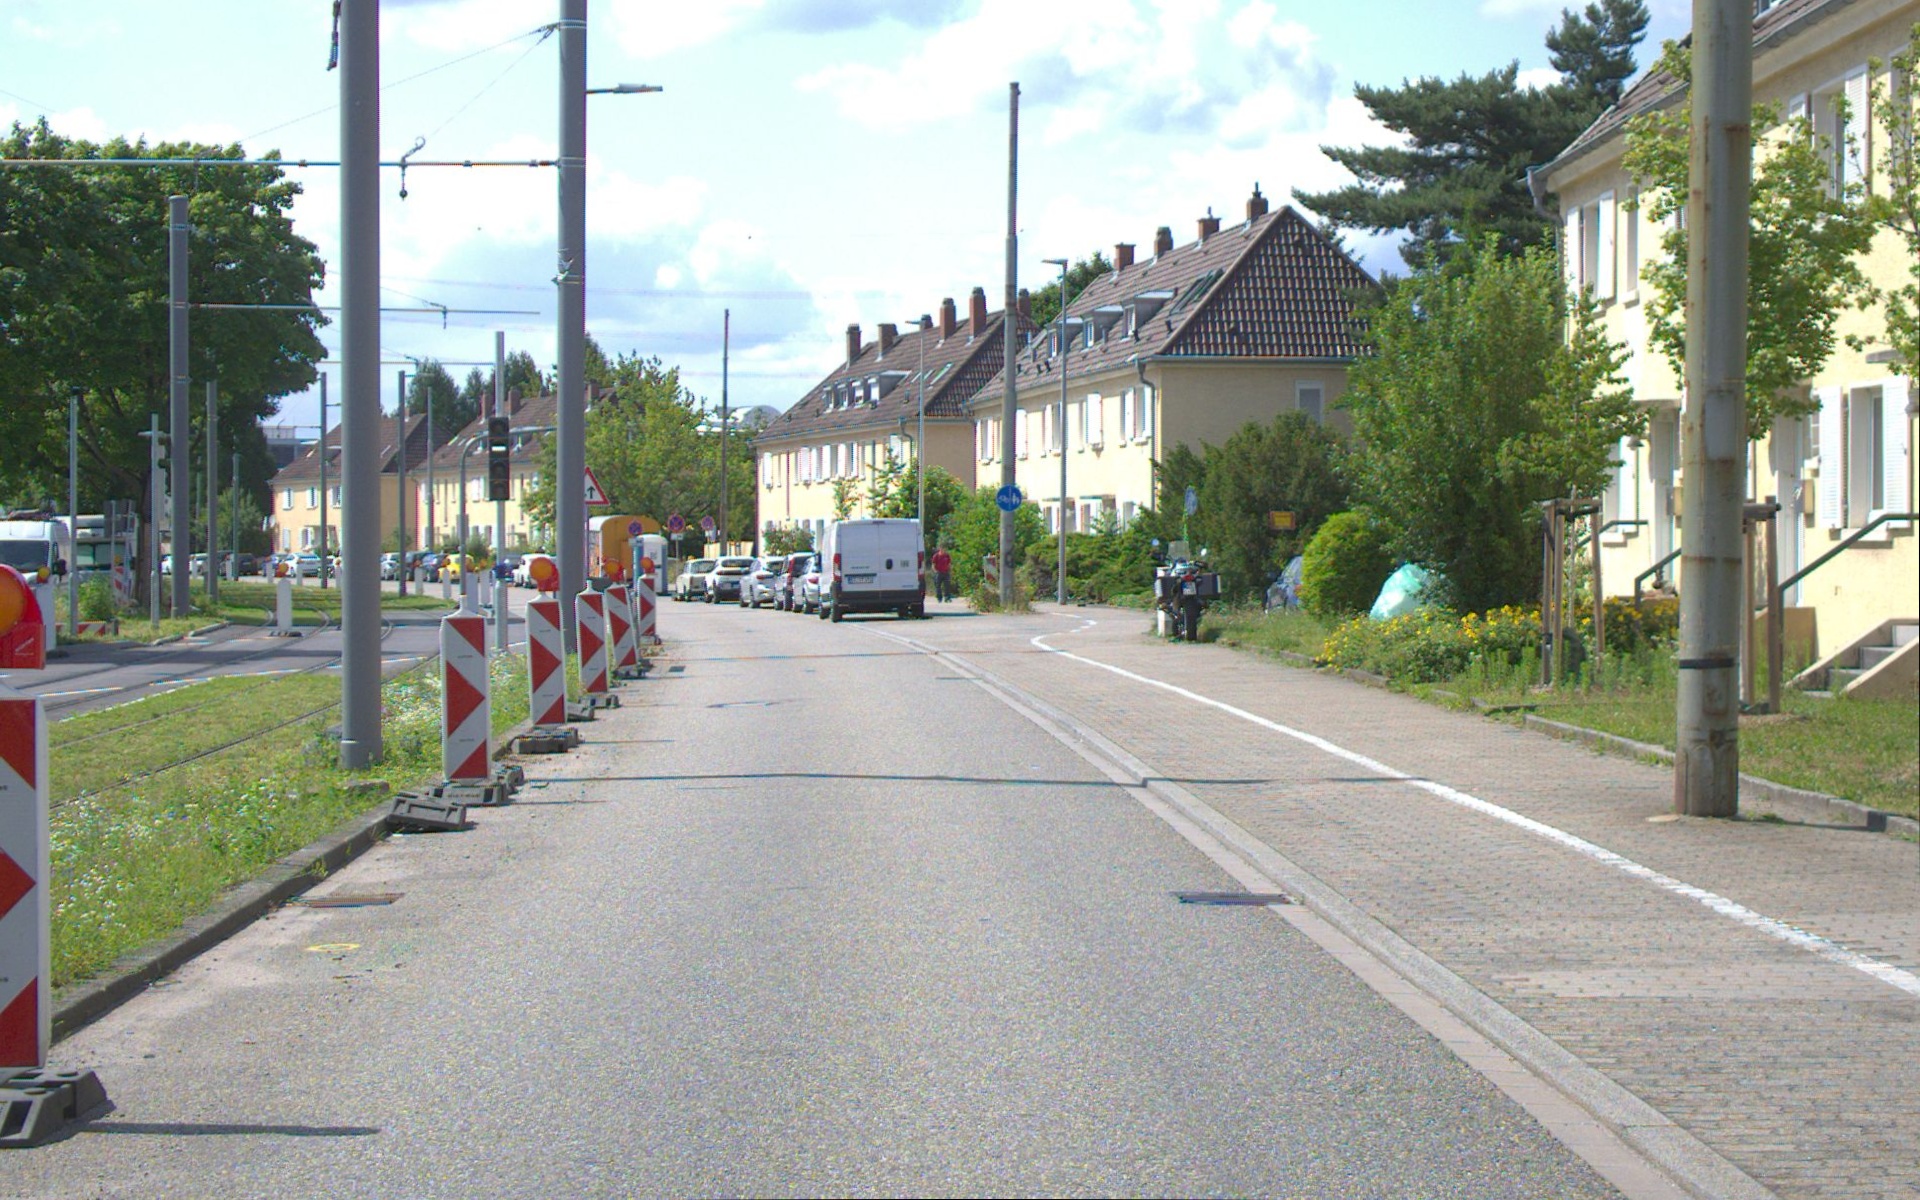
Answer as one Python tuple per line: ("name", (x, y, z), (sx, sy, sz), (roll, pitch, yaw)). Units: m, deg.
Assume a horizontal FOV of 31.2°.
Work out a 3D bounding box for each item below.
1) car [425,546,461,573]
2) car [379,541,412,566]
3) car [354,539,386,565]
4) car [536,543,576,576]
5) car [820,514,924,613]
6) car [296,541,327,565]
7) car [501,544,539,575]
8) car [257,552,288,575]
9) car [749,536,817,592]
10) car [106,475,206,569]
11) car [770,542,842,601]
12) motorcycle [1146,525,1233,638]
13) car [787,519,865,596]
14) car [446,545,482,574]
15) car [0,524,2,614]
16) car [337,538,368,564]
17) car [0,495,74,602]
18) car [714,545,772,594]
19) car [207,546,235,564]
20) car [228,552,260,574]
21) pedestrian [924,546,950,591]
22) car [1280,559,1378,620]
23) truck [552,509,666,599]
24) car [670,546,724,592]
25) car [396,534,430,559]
("car", (-26.570, -2.086, 176.655), (1.257, 1.421, 2.666), (0, 1, -21))
("car", (-30.721, -2.546, 186.952), (1.257, 1.346, 2.666), (0, 1, -21))
("car", (-32.808, -2.667, 191.155), (1.165, 1.421, 2.666), (0, 1, -22))
("car", (-17.779, -1.782, 151.219), (1.257, 1.421, 2.666), (0, 1, -18))
("car", (-2.005, -0.820, 76.914), (2.065, 2.142, 4.879), (0, 1, -4))
("car", (-38.802, -2.832, 205.653), (1.257, 1.421, 2.666), (0, 1, -23))
("car", (-20.380, -1.883, 159.156), (1.257, 1.421, 2.666), (0, 1, -18))
("car", (-42.558, -2.266, 212.808), (1.257, 1.421, 2.666), (0, 1, -25))
("car", (-5.018, -1.019, 97.268), (1.567, 1.546, 3.790), (0, 1, -8))
("car", (-20.826, -2.029, 89.245), (2.406, 2.362, 4.881), (0, 1, -12))
("car", (-4.126, -0.763, 91.717), (1.567, 1.546, 3.790), (0, 1, -8))
("motorcycle", (3.385, -0.285, 50.942), (1.066, 1.630, 2.084), (0, 1, -3))
("car", (-3.404, -1.069, 86.524), (1.567, 1.891, 3.790), (0, 1, -8))
("car", (-24.715, -2.010, 171.353), (1.257, 1.421, 2.666), (0, 1, -19))
("car", (-19.461, -0.580, 65.456), (2.093, 1.770, 4.122), (0, 1, -12))
("car", (-34.507, -2.785, 195.305), (1.165, 1.421, 2.666), (0, 1, -22))
("car", (-21.140, -1.152, 76.787), (2.406, 2.330, 4.881), (0, 1, -12))
("car", (-6.888, -0.979, 109.047), (1.567, 1.546, 3.479), (0, 1, -8))
("car", (-48.449, -2.966, 225.367), (1.257, 1.138, 2.666), (-1, 1, -25))
("car", (-45.733, -2.360, 219.488), (1.257, 1.421, 2.665), (0, 1, -29))
("pedestrian", (-0.647, -0.883, 96.738), (0.632, 1.250, 0.727), (0, 1, -10))
("car", (6.501, -0.198, 60.714), (1.311, 1.026, 2.769), (0, 1, -3))
("truck", (-14.246, -1.866, 138.867), (2.639, 3.482, 9.441), (0, 1, -18))
("car", (-8.846, -1.051, 115.471), (1.567, 1.546, 3.479), (0, 1, -8))
("car", (-29.156, -2.836, 183.114), (1.257, 1.346, 2.666), (0, 1, -21))
